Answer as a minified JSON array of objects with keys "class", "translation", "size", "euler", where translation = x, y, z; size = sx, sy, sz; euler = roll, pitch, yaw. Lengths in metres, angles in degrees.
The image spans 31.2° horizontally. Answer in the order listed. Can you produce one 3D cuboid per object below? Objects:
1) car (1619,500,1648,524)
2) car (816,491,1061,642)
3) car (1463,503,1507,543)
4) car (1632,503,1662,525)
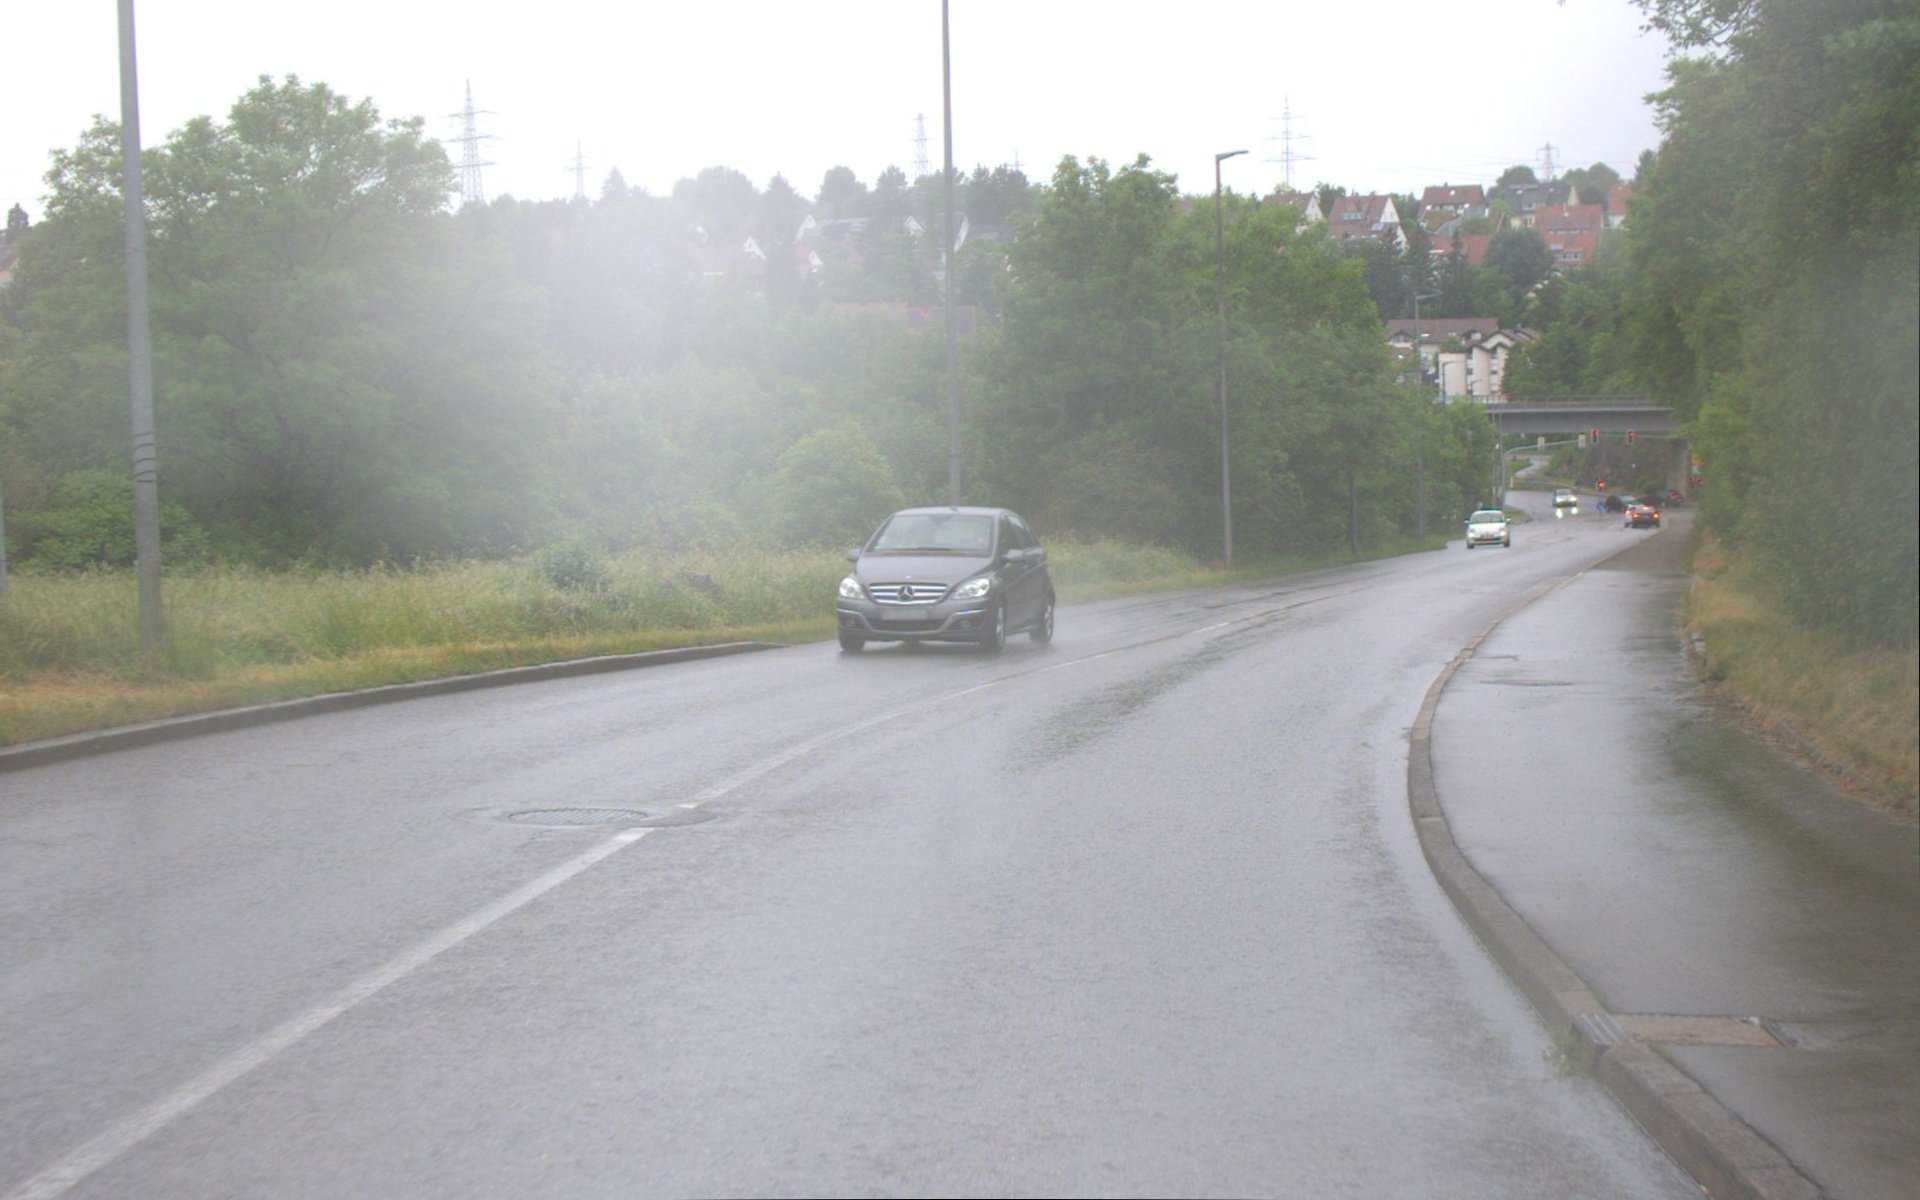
[{"class":"car","translation":[45.870,-5.958,234.020],"size":[1.769,1.557,3.998],"euler":[-2,1,13]},{"class":"car","translation":[-0.167,-0.403,38.264],"size":[1.865,1.546,4.264],"euler":[1,1,12]},{"class":"car","translation":[20.664,-3.034,135.449],"size":[1.639,1.483,3.453],"euler":[-2,1,9]},{"class":"car","translation":[45.401,-5.699,227.198],"size":[1.769,1.375,3.998],"euler":[-2,1,13]}]
